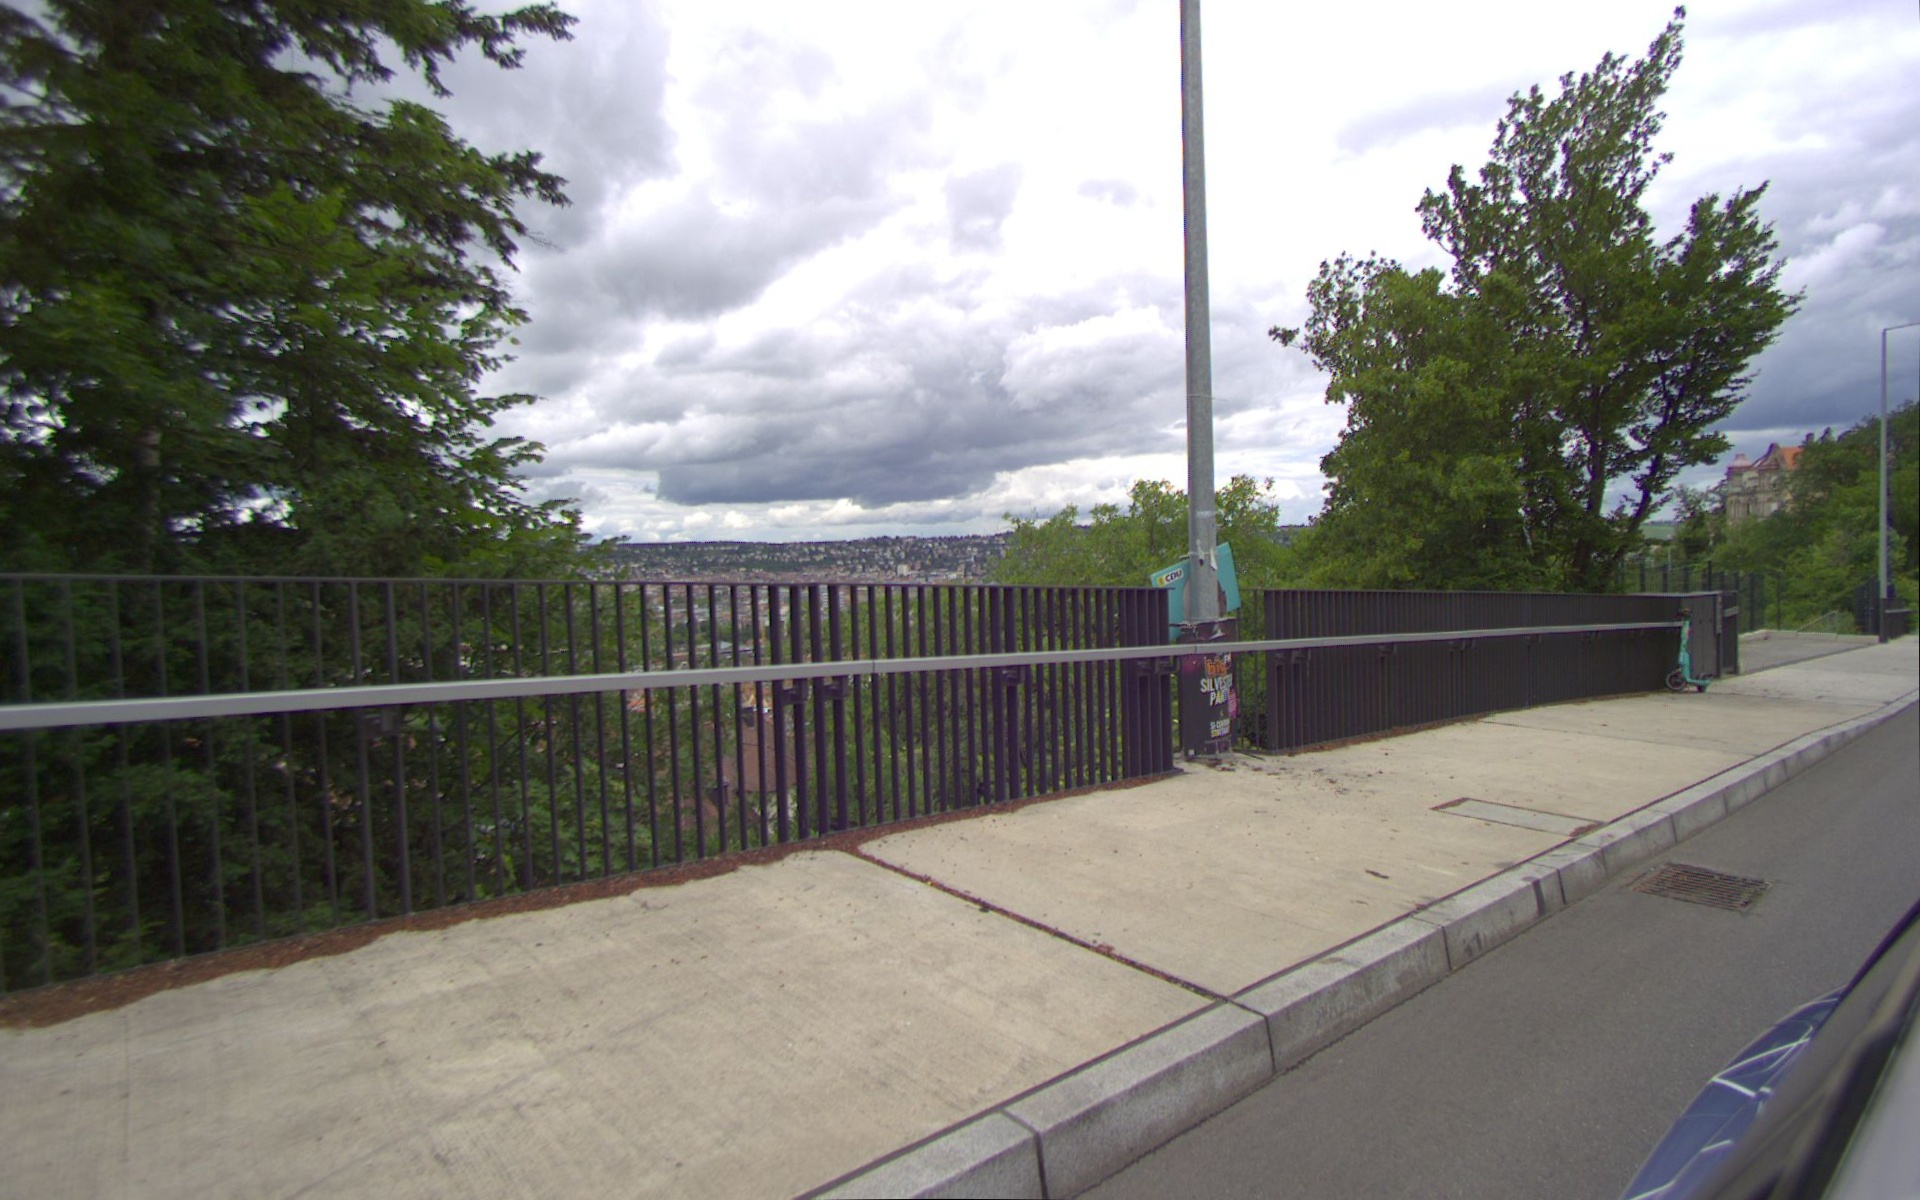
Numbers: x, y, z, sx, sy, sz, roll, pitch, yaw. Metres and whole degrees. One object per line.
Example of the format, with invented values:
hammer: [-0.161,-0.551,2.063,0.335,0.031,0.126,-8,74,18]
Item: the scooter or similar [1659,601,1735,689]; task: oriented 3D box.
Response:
scooter or similar: [11.007,0.653,15.111,1.183,1.242,0.536,1,1,-35]
